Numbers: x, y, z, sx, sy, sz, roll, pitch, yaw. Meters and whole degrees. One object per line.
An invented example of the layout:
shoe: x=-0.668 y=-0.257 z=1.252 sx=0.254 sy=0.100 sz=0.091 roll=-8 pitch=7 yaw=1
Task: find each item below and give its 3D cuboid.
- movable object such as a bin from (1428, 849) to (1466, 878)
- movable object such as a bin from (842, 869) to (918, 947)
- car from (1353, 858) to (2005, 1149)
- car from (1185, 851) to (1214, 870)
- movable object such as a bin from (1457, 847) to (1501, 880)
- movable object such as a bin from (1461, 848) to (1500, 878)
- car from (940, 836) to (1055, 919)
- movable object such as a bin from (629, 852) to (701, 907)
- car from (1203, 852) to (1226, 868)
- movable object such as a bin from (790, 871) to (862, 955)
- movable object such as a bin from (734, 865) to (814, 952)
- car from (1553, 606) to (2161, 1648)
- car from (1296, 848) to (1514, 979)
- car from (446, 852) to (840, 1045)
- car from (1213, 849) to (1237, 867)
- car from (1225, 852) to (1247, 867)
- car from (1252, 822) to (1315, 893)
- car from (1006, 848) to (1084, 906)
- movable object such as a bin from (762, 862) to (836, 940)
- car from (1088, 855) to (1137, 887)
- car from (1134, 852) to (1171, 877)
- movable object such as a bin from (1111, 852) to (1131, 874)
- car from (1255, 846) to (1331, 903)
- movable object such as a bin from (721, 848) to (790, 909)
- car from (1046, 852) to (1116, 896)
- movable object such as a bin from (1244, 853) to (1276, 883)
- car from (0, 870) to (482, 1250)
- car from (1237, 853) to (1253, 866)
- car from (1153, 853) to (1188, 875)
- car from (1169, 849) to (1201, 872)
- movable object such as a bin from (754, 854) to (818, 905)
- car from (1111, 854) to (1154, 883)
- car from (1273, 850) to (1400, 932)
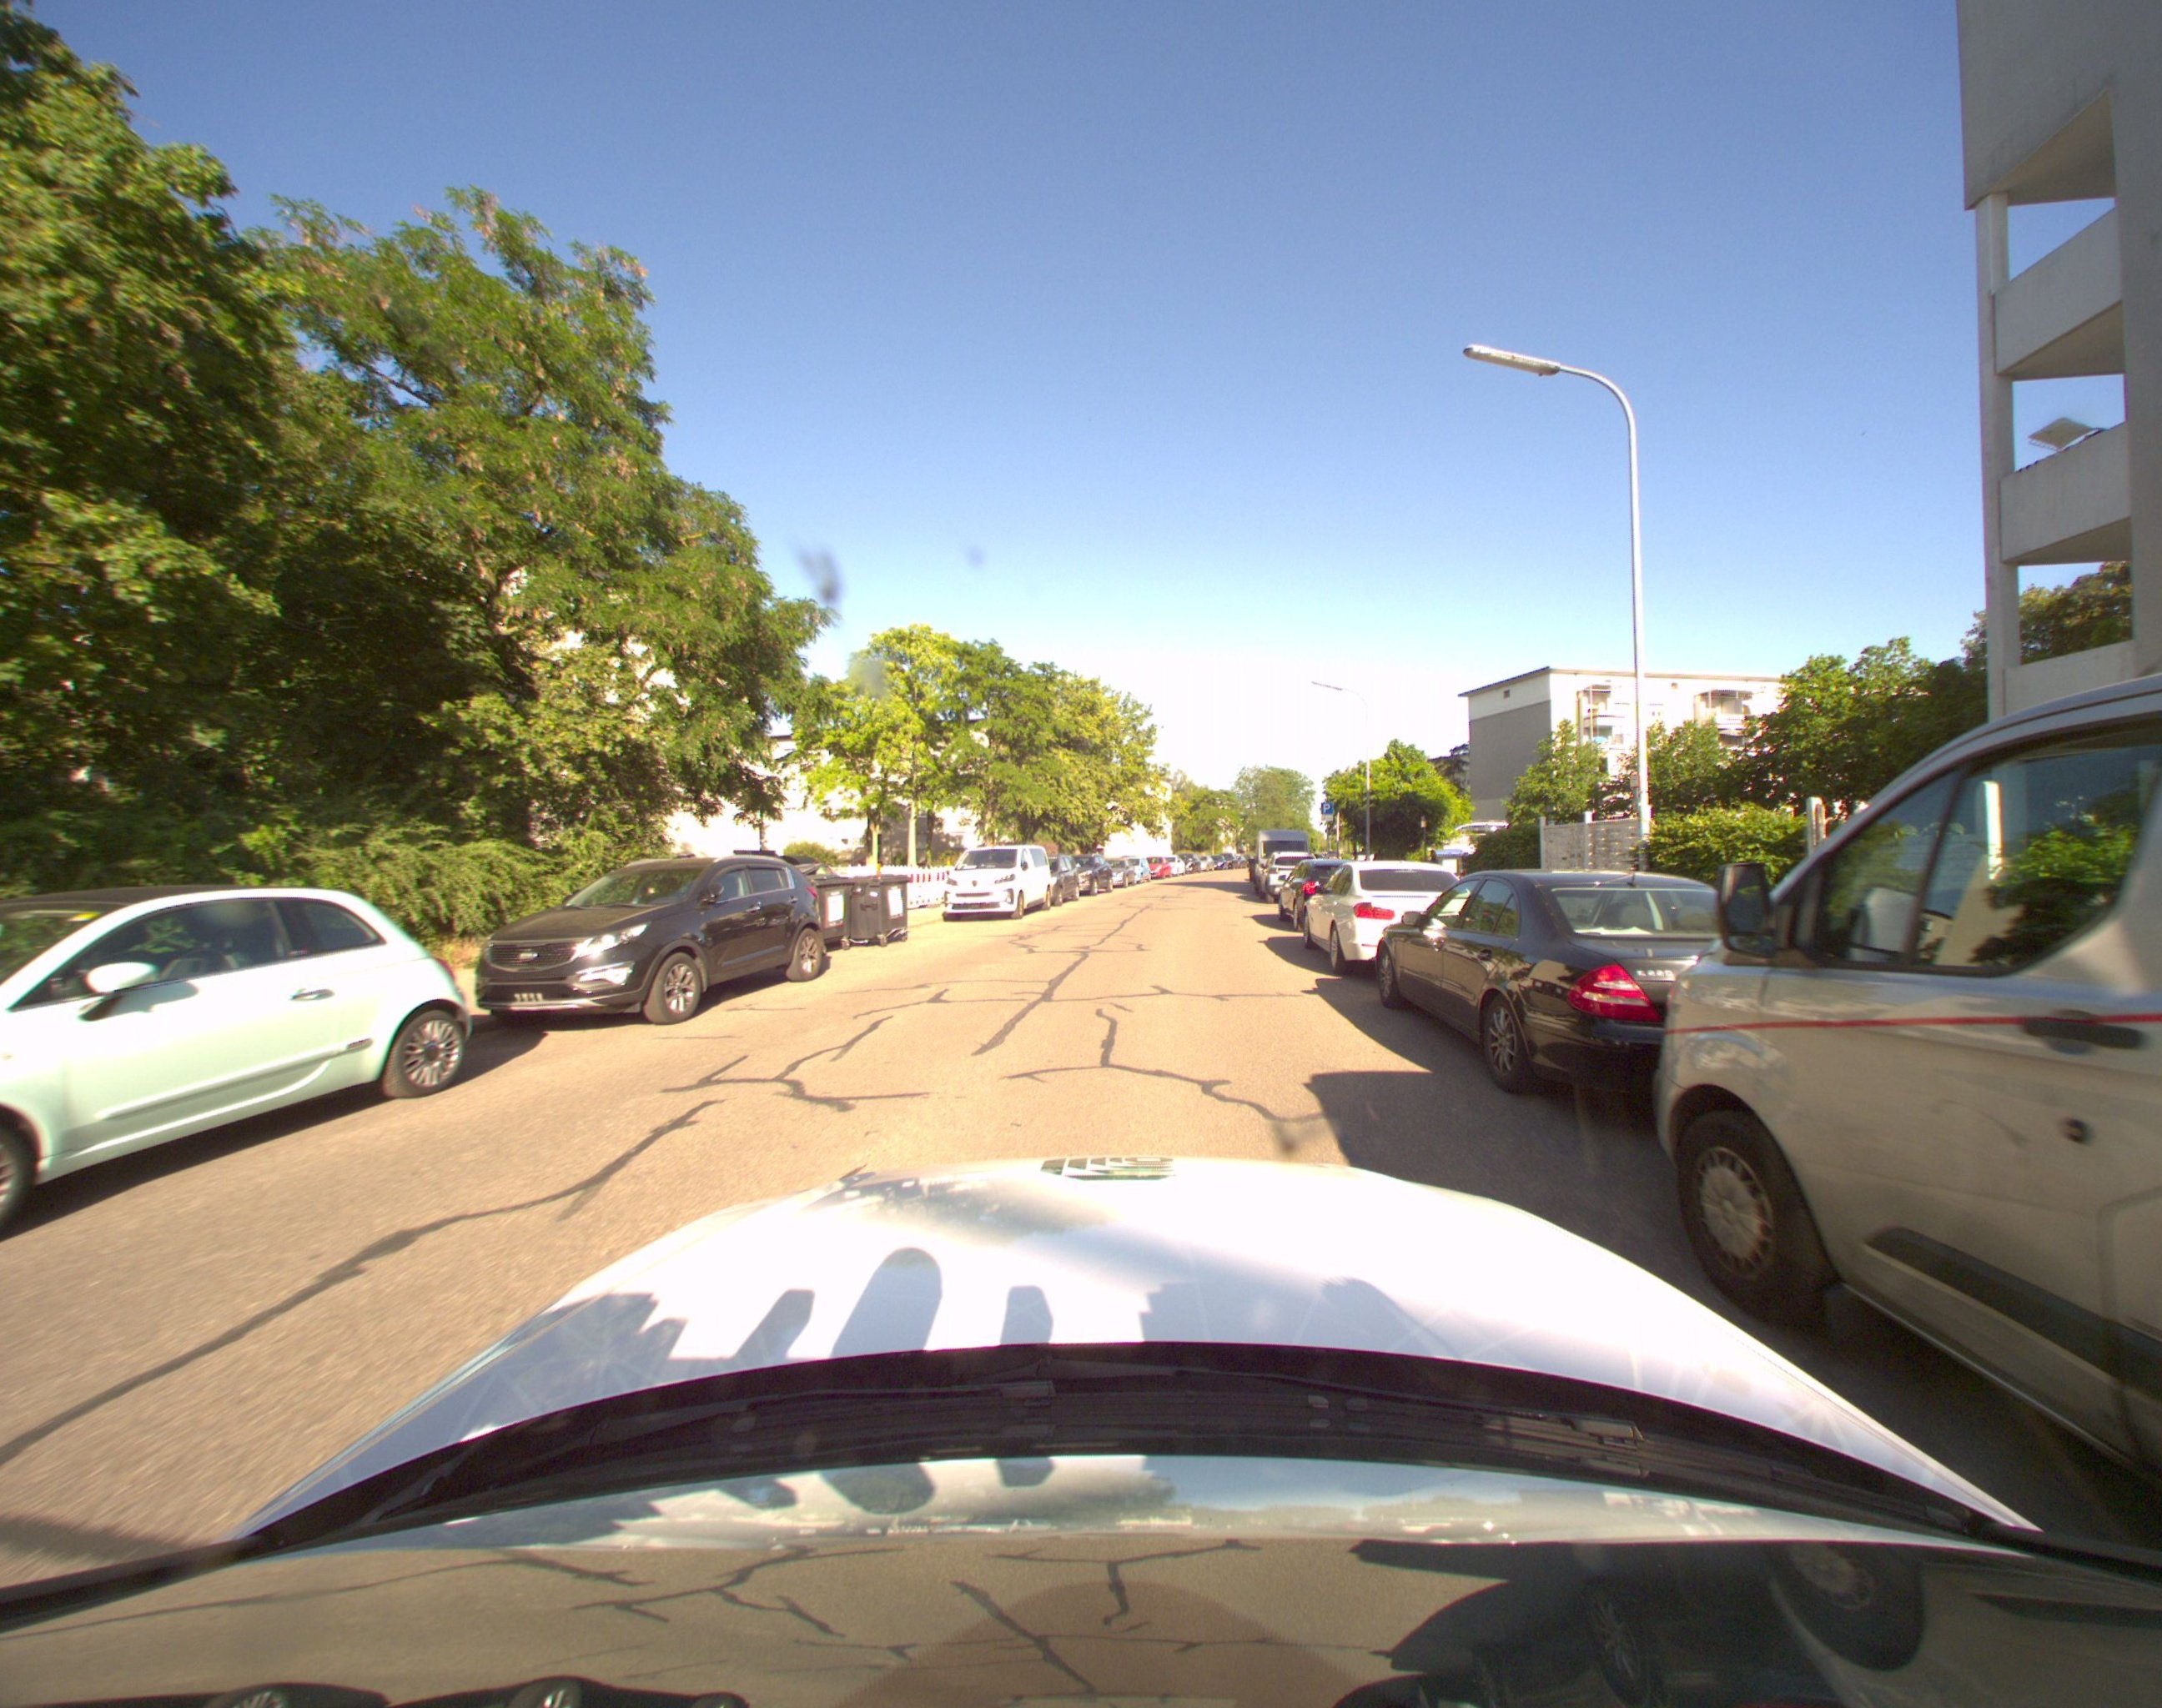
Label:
movable object such as a bin: x=17.115 y=0.441 z=38.152 sx=1.402 sy=1.305 sz=1.388 roll=-2 pitch=-1 yaw=16
movable object such as a bin: x=-3.698 y=0.972 z=15.090 sx=0.797 sy=1.315 sz=1.326 roll=-1 pitch=1 yaw=15
car: x=3.803 y=0.770 z=6.562 sx=1.984 sy=1.417 sz=4.931 roll=-1 pitch=0 yaw=5
car: x=10.249 y=0.555 z=70.125 sx=1.646 sy=1.486 sz=4.072 roll=-3 pitch=-1 yaw=19
movable object such as a bin: x=16.812 y=0.396 z=34.457 sx=1.402 sy=1.305 sz=1.388 roll=-2 pitch=-1 yaw=16
movable object such as a bin: x=18.504 y=0.414 z=37.765 sx=1.402 sy=1.305 sz=1.388 roll=-2 pitch=-1 yaw=16
car: x=-2.099 y=0.560 z=21.909 sx=1.852 sy=1.961 sz=4.683 roll=-1 pitch=0 yaw=9
movable object such as a bin: x=-11.668 y=0.696 z=22.883 sx=1.250 sy=1.489 sz=1.283 roll=-1 pitch=0 yaw=10
car: x=12.392 y=0.551 z=75.277 sx=1.648 sy=1.426 sz=4.065 roll=-3 pitch=-1 yaw=15
movable object such as a bin: x=-4.346 y=0.983 z=13.939 sx=0.605 sy=1.340 sz=1.273 roll=-1 pitch=0 yaw=12
movable object such as a bin: x=-5.363 y=0.935 z=14.280 sx=1.058 sy=1.468 sz=0.893 roll=0 pitch=0 yaw=-1
car: x=2.949 y=0.489 z=1.298 sx=1.983 sy=1.912 sz=4.963 roll=-1 pitch=0 yaw=7
car: x=4.263 y=0.691 z=11.493 sx=1.899 sy=1.488 sz=4.385 roll=-1 pitch=0 yaw=8
car: x=-4.497 y=0.838 z=9.254 sx=1.665 sy=1.638 sz=4.260 roll=-2 pitch=0 yaw=8
car: x=14.358 y=0.368 z=80.913 sx=1.646 sy=1.688 sz=4.069 roll=-3 pitch=-1 yaw=19
car: x=16.241 y=0.551 z=85.308 sx=1.646 sy=1.439 sz=3.778 roll=-3 pitch=-1 yaw=19
car: x=7.762 y=0.113 z=31.711 sx=2.091 sy=2.486 sz=5.874 roll=0 pitch=0 yaw=11
car: x=-1.106 y=0.693 z=26.946 sx=1.545 sy=1.722 sz=4.354 roll=-1 pitch=0 yaw=11
movable object such as a bin: x=-5.247 y=0.857 z=15.217 sx=1.058 sy=1.400 sz=0.893 roll=0 pitch=0 yaw=-1
car: x=1.623 y=0.825 z=40.422 sx=1.659 sy=1.437 sz=4.014 roll=-2 pitch=-1 yaw=13
car: x=4.620 y=0.671 z=52.066 sx=1.658 sy=1.474 sz=3.693 roll=-2 pitch=-1 yaw=15
movable object such as a bin: x=2.840 y=0.597 z=57.424 sx=1.103 sy=1.498 sz=1.414 roll=-1 pitch=0 yaw=13
car: x=6.756 y=0.619 z=26.367 sx=1.899 sy=1.666 sz=4.385 roll=-1 pitch=0 yaw=8
movable object such as a bin: x=-8.609 y=0.643 z=21.619 sx=1.253 sy=1.551 sz=1.281 roll=-1 pitch=0 yaw=3
car: x=0.086 y=0.744 z=32.926 sx=1.735 sy=1.617 sz=4.380 roll=-1 pitch=0 yaw=14
movable object such as a bin: x=8.169 y=0.631 z=37.153 sx=1.258 sy=1.313 sz=1.128 roll=-2 pitch=1 yaw=20
car: x=-5.307 y=0.908 z=4.307 sx=1.619 sy=1.527 sz=3.421 roll=-1 pitch=0 yaw=2
car: x=18.752 y=0.580 z=92.981 sx=1.377 sy=1.413 sz=3.140 roll=-3 pitch=-1 yaw=19
car: x=6.345 y=0.678 z=57.413 sx=1.657 sy=1.421 sz=3.918 roll=-2 pitch=0 yaw=17
car: x=8.189 y=0.463 z=63.789 sx=1.657 sy=1.666 sz=4.426 roll=-2 pitch=-1 yaw=17
movable object such as a bin: x=-8.497 y=0.722 z=23.488 sx=1.269 sy=1.401 sz=1.265 roll=-1 pitch=0 yaw=7
car: x=2.894 y=0.763 z=45.414 sx=1.658 sy=1.474 sz=3.693 roll=-2 pitch=-1 yaw=15
car: x=5.249 y=0.693 z=17.280 sx=1.899 sy=1.488 sz=4.385 roll=-1 pitch=0 yaw=8
